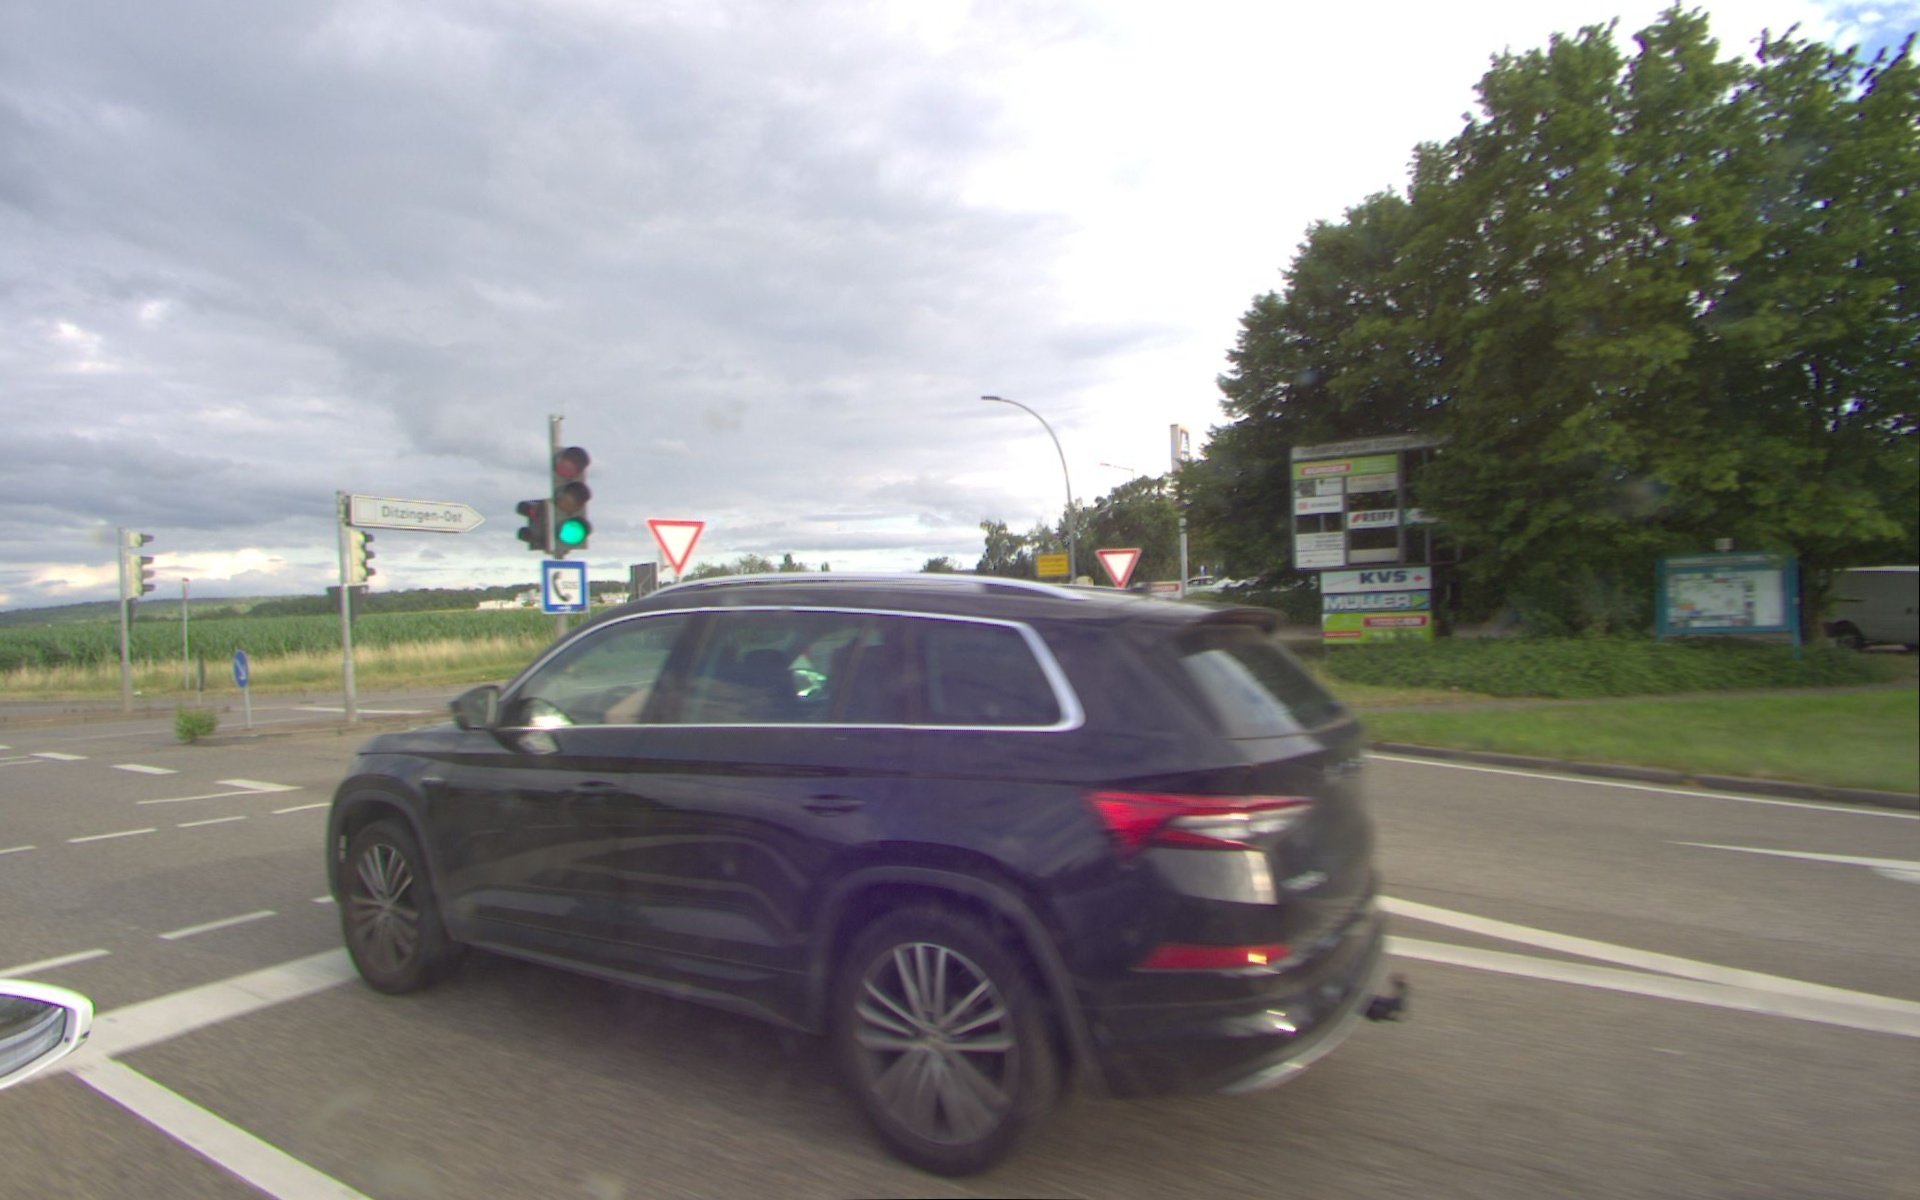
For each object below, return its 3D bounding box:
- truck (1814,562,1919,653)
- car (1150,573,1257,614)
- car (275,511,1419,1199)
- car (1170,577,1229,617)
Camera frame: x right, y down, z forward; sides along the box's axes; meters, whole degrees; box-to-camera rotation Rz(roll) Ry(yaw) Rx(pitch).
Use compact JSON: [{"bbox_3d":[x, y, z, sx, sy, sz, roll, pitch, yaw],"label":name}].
[{"bbox_3d":[22.182,0.158,22.501,1.788,2.022,4.672,-1,-2,-3],"label":"truck"},{"bbox_3d":[13.705,-0.334,56.443,5.525,2.040,1.992,-2,1,26],"label":"car"},{"bbox_3d":[-0.680,0.734,4.045,4.417,1.671,1.842,-2,-2,32],"label":"car"},{"bbox_3d":[12.714,-0.177,52.958,1.932,1.909,4.284,-2,2,29],"label":"car"}]
